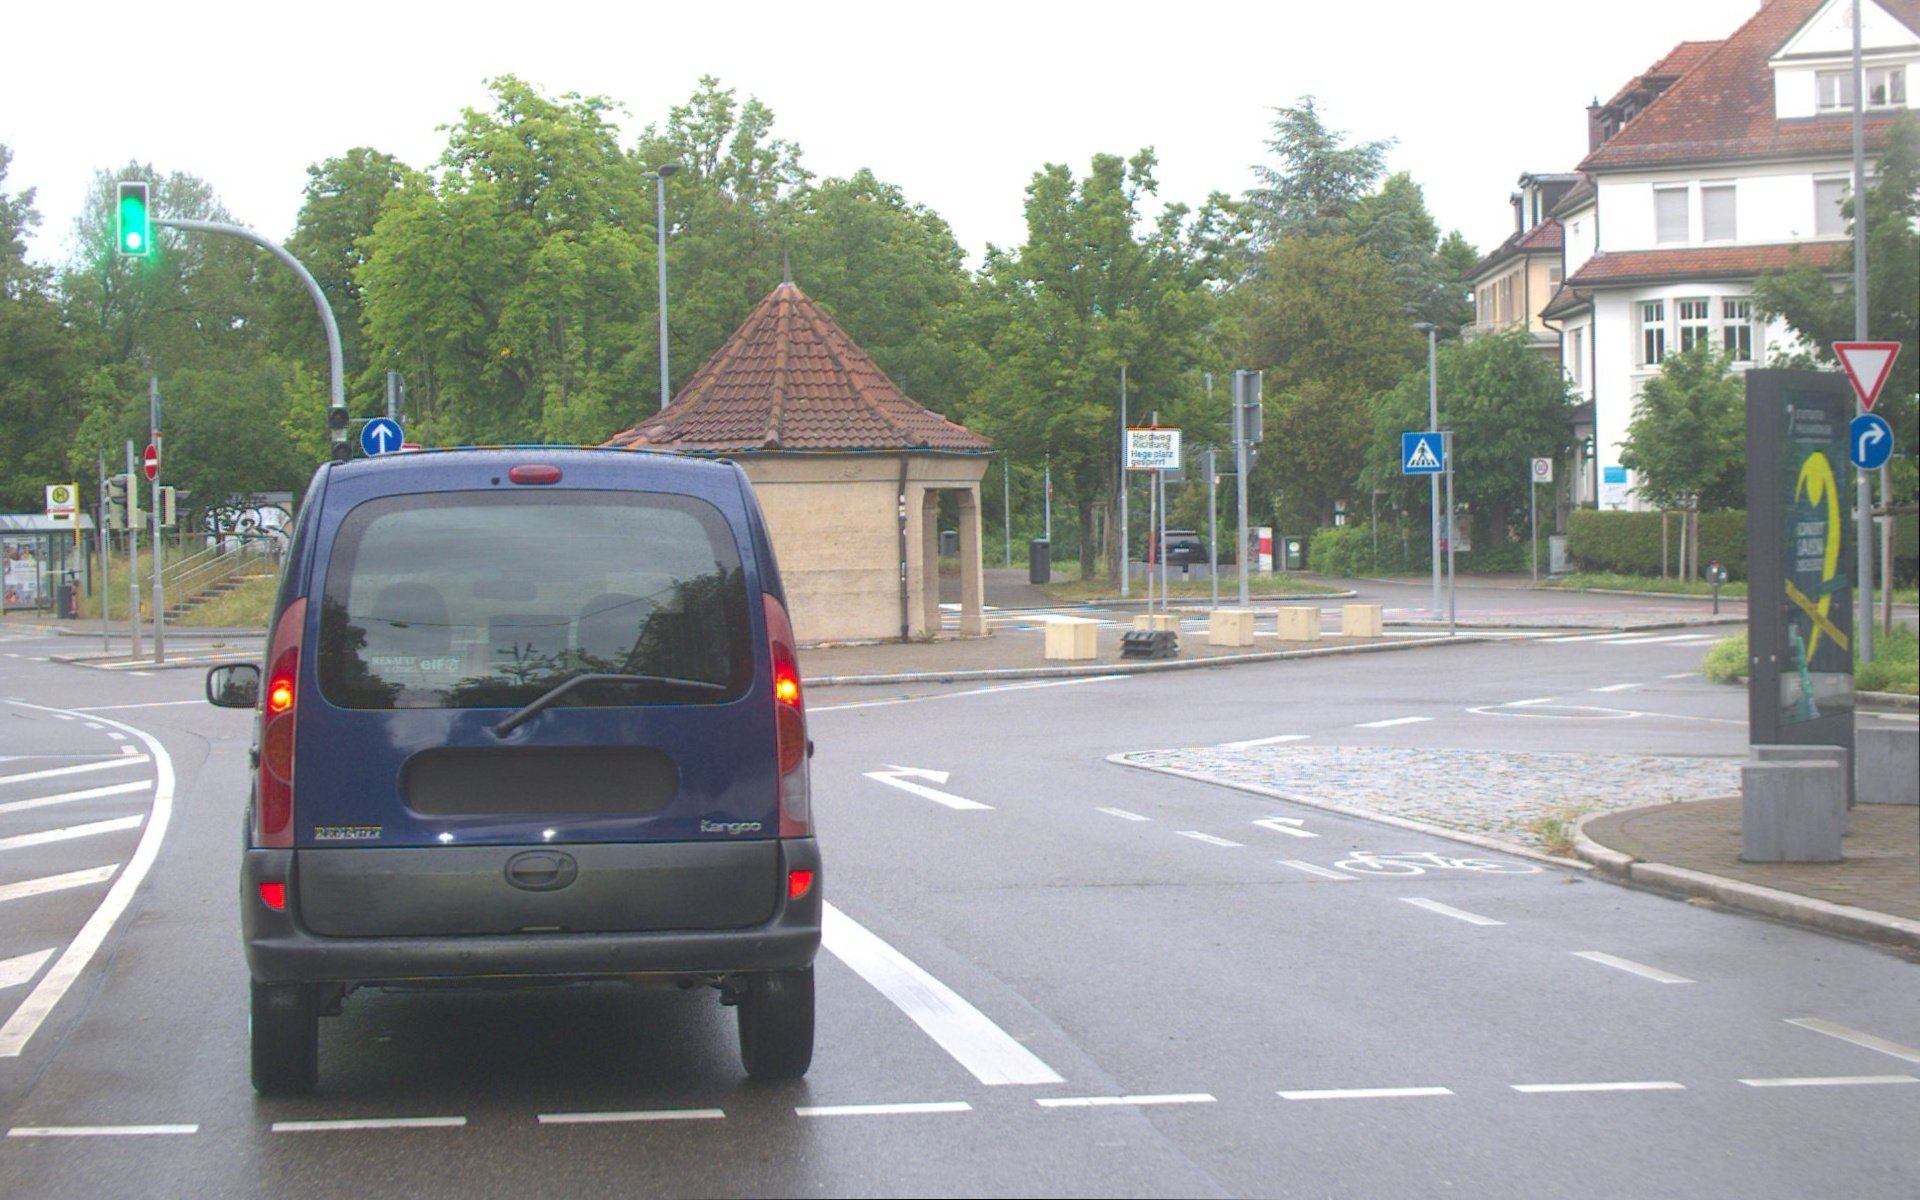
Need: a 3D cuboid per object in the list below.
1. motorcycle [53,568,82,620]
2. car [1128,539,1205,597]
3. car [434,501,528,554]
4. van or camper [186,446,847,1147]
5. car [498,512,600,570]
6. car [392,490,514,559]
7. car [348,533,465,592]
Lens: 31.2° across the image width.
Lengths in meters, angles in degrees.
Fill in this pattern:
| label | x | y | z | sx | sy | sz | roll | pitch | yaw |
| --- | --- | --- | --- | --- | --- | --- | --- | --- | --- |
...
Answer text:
| label | x | y | z | sx | sy | sz | roll | pitch | yaw |
| --- | --- | --- | --- | --- | --- | --- | --- | --- | --- |
| motorcycle | -22.804 | -0.161 | 87.857 | 0.588 | 1.284 | 1.538 | -2 | 1 | -11 |
| car | 7.369 | -1.145 | 122.955 | 1.993 | 2.007 | 4.001 | -1 | 1 | -8 |
| car | -14.361 | -2.162 | 102.889 | 1.885 | 1.475 | 4.069 | -1 | 0 | -21 |
| van or camper | -1.477 | 0.490 | 11.111 | 1.712 | 1.819 | 4.001 | -1 | 1 | -9 |
| car | -11.110 | -1.579 | 92.720 | 1.885 | 1.475 | 4.070 | 0 | 0 | -20 |
| car | -12.711 | -1.883 | 86.051 | 1.993 | 1.656 | 4.001 | 1 | 1 | -24 |
| car | -14.541 | -0.971 | 90.159 | 1.993 | 1.475 | 4.285 | 0 | 0 | -24 |
